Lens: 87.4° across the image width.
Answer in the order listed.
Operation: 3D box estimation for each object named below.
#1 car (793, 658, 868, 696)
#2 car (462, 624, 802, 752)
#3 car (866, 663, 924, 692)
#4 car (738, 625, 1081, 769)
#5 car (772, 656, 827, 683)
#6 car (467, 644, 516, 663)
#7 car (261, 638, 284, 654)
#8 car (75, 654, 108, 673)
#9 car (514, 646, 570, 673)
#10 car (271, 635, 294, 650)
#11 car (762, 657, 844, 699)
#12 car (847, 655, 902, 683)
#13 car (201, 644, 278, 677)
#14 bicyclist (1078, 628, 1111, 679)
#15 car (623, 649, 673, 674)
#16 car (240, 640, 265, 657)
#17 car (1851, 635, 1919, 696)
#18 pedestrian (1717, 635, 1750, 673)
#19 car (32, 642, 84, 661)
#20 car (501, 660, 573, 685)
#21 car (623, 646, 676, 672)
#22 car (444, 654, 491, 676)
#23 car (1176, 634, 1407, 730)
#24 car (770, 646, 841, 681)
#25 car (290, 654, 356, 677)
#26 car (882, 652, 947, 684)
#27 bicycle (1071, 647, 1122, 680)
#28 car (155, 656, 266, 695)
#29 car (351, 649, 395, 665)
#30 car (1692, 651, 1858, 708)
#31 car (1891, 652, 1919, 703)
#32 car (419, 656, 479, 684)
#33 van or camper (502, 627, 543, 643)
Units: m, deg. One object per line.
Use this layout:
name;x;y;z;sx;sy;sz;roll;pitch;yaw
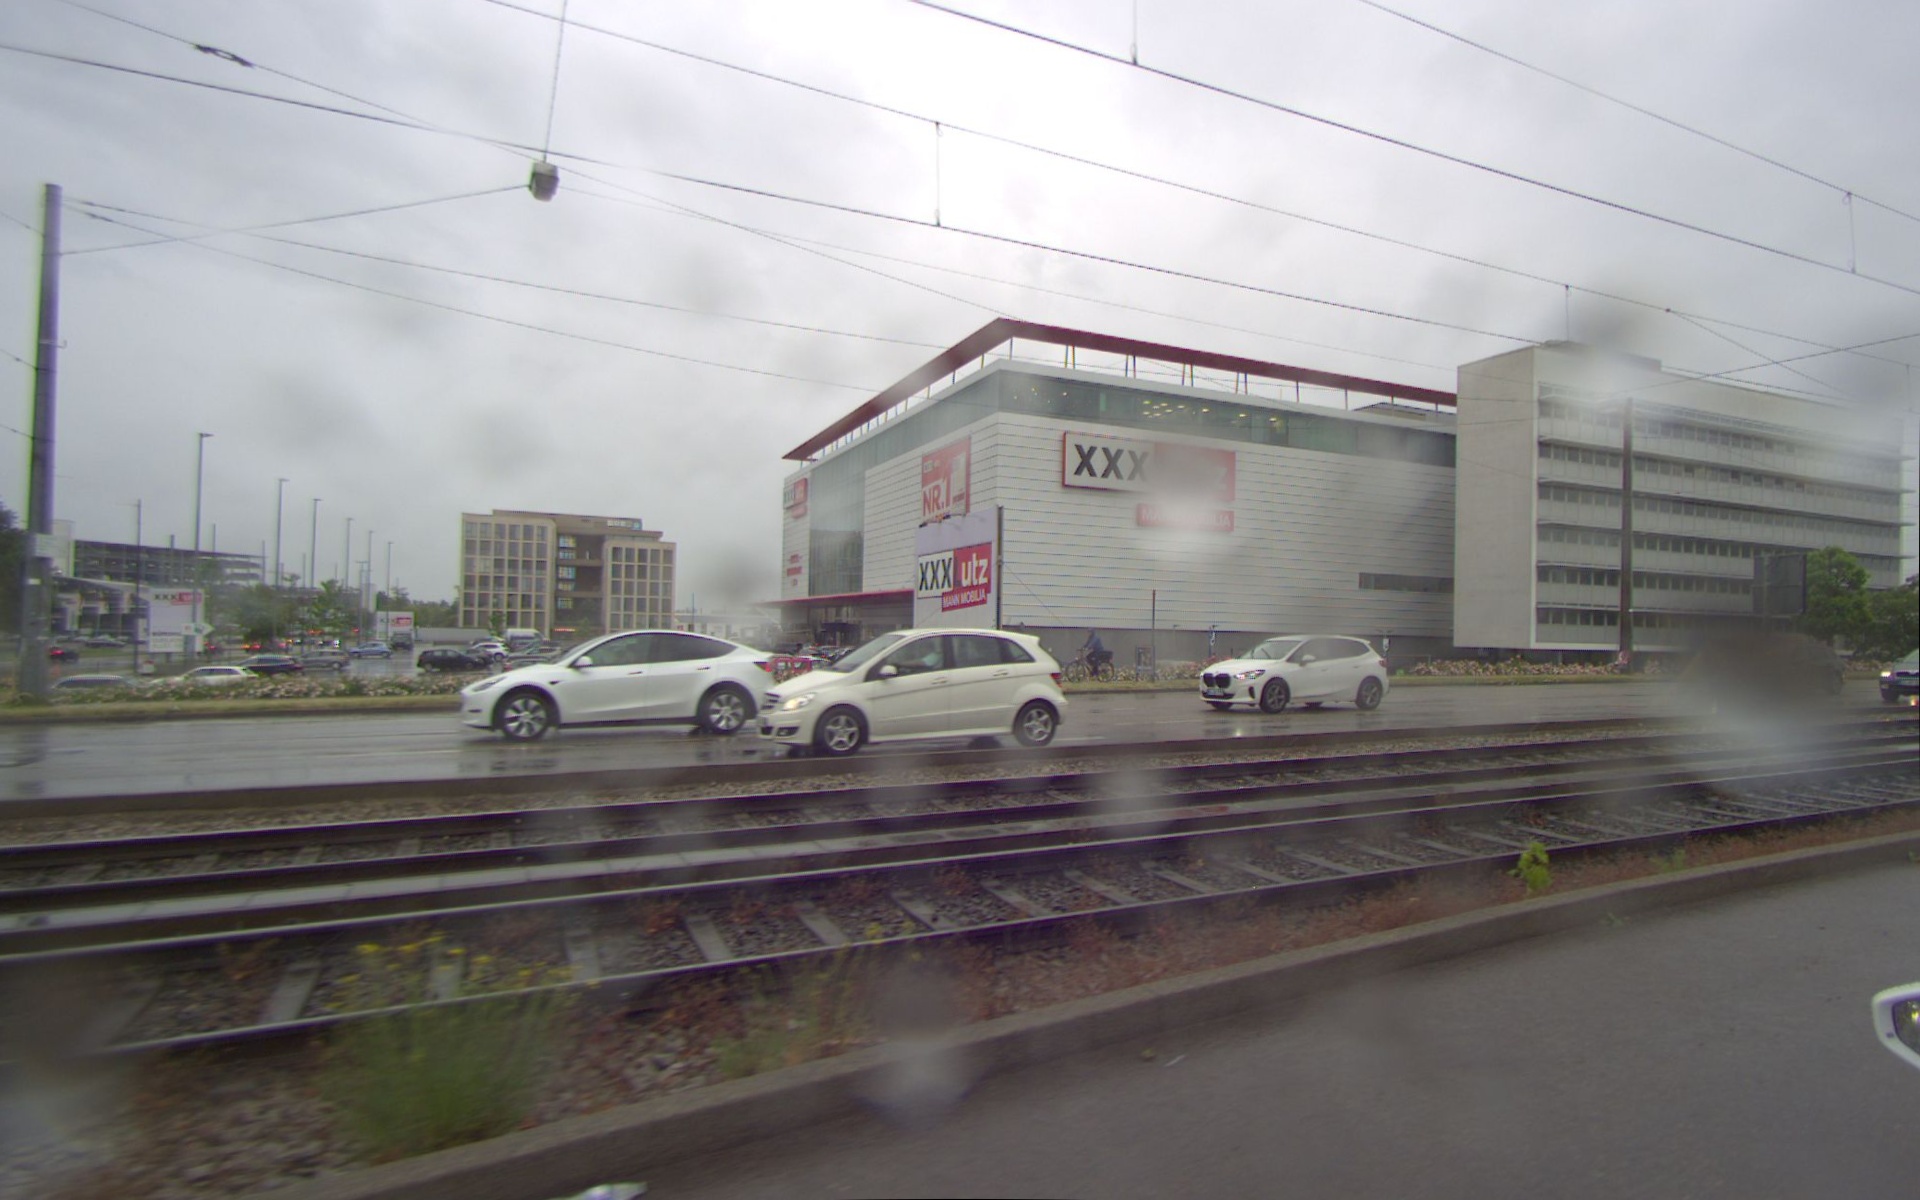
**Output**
car;-7.662;4.522;59.441;3.951;2.040;1.985;1;1;-29
car;-5.034;1.240;15.563;4.779;1.628;1.900;1;2;-27
car;-4.993;5.916;77.066;3.950;2.040;1.985;2;0;-28
car;-0.679;1.183;13.572;4.268;1.595;1.868;0;1;-24
car;-13.054;5.659;81.619;3.951;2.040;1.985;2;0;-29
car;-42.143;4.775;90.399;3.954;1.582;1.753;2;0;-26
car;-96.398;6.448;140.852;1.972;2.040;3.976;2;0;-24
car;-108.851;7.953;125.893;1.972;2.040;3.976;2;0;-24
car;-32.575;4.642;78.291;3.860;1.930;1.809;2;0;-30
car;-98.775;6.210;146.430;1.972;2.040;3.976;2;0;-24
car;-8.521;4.205;54.557;3.951;2.040;1.985;1;1;-29
car;-6.938;5.602;81.824;3.951;2.040;1.985;2;0;-29
car;-48.257;4.044;67.373;3.951;2.040;1.985;2;0;-29
bicyclist;4.416;1.760;32.991;0.781;1.611;0.669;1;1;-26
car;-28.333;5.580;91.226;3.951;2.040;1.985;1;1;-29
car;-94.587;6.471;134.354;1.972;2.040;3.976;2;0;-24
car;25.318;1.690;25.808;4.609;1.476;1.988;2;-4;-26
pedestrian;38.464;2.683;49.932;1.035;1.786;0.820;2;1;-23
car;-78.113;4.474;87.070;2.007;1.426;4.199;2;0;-23
car;-24.327;4.156;57.783;3.679;1.281;1.540;2;0;-29
car;-25.915;4.920;83.881;3.951;2.040;1.985;1;1;-29
car;-37.212;4.886;75.896;3.130;1.544;1.560;2;0;-29
car;7.135;1.702;21.605;4.629;1.858;1.988;2;-2;-25
car;-9.676;3.960;63.001;3.951;2.040;1.985;1;1;-29
car;-47.146;4.835;74.469;3.996;1.544;1.703;2;0;-30
car;-3.115;4.643;69.043;3.951;2.040;1.985;2;0;-29
bicycle;4.488;2.073;33.038;1.535;1.029;0.666;1;1;-26
car;-35.415;3.548;47.572;3.951;1.626;1.792;1;1;-29
car;-58.284;5.683;99.733;3.516;1.426;1.777;2;0;-23
car;23.516;2.259;28.984;4.493;1.536;1.958;2;-3;-25
car;33.530;2.593;33.516;4.840;1.639;1.853;2;-3;-24
car;-37.353;5.108;73.470;3.788;1.930;1.809;2;0;-30
van or camper;-59.922;4.810;137.701;4.936;2.141;1.771;2;0;-31
